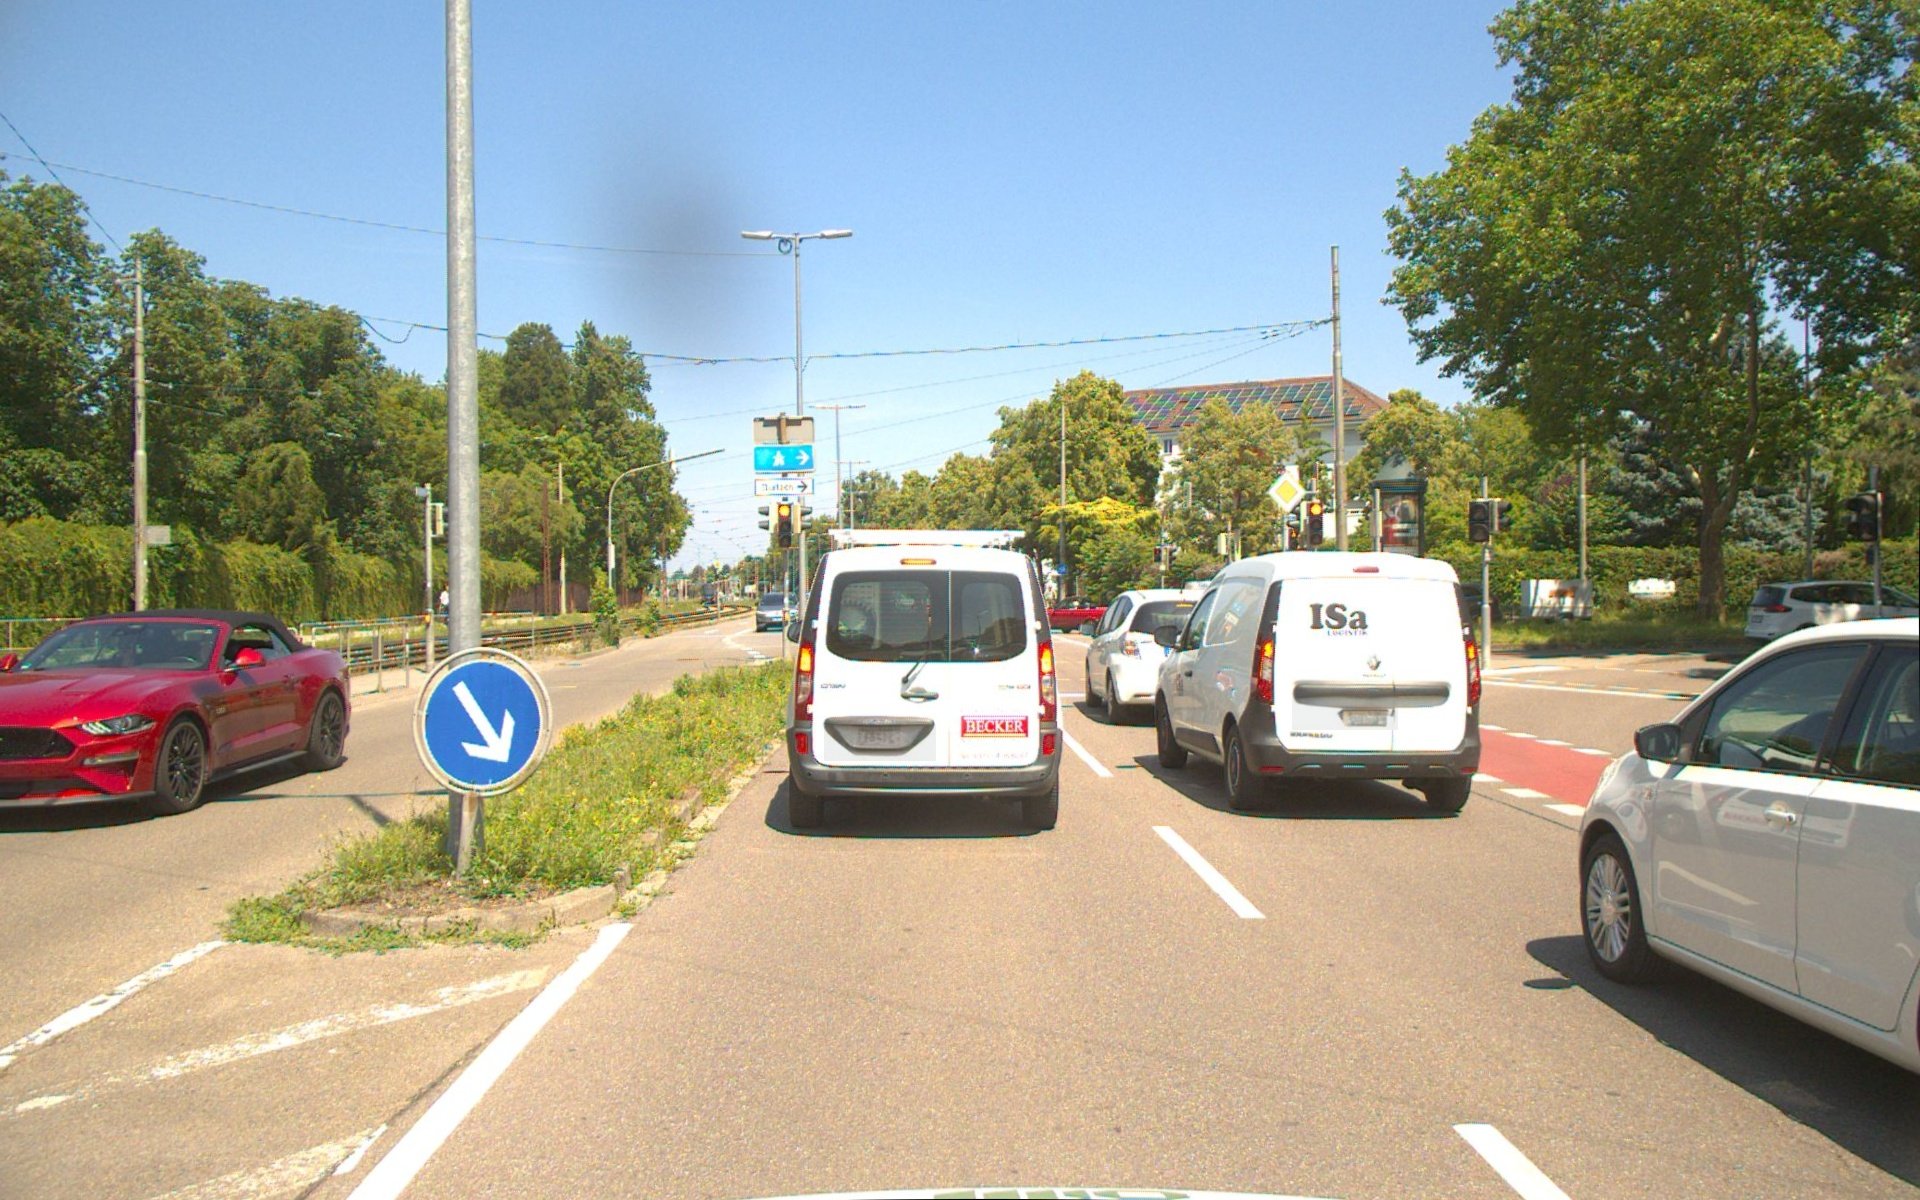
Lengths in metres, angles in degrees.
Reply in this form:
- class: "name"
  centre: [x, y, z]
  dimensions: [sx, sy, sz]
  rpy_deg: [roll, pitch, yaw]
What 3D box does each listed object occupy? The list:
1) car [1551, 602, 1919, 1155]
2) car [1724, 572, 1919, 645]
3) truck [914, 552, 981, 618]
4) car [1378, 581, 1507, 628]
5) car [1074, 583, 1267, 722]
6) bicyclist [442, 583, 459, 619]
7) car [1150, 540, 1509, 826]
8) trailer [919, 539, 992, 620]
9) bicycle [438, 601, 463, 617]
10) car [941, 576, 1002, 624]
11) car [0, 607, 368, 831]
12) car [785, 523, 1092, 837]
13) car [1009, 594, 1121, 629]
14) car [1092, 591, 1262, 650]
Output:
- class: "car"
  centre: [3.374, 0.766, 5.390]
  dimensions: [1.574, 1.477, 3.520]
  rpy_deg: [1, 0, -1]
- class: "car"
  centre: [20.505, 0.185, 38.671]
  dimensions: [4.348, 1.645, 2.001]
  rpy_deg: [-1, 0, 2]
- class: "truck"
  centre: [-0.827, -0.886, 98.653]
  dimensions: [3.505, 3.696, 8.803]
  rpy_deg: [-1, 0, -3]
- class: "car"
  centre: [16.334, 0.132, 56.128]
  dimensions: [3.902, 1.534, 2.001]
  rpy_deg: [-1, 0, 6]
- class: "car"
  centre: [2.476, 0.566, 20.344]
  dimensions: [1.720, 1.512, 3.998]
  rpy_deg: [-1, 0, -2]
- class: "bicyclist"
  centre: [-21.870, 0.047, 71.014]
  dimensions: [0.546, 1.504, 0.561]
  rpy_deg: [-1, 0, -2]
- class: "car"
  centre: [2.667, 0.525, 12.868]
  dimensions: [1.676, 1.862, 4.010]
  rpy_deg: [0, 0, -4]
- class: "trailer"
  centre: [-0.351, -1.096, 89.806]
  dimensions: [3.458, 4.121, 8.971]
  rpy_deg: [-1, 0, -3]
- class: "bicycle"
  centre: [-21.862, 0.379, 70.977]
  dimensions: [0.550, 0.659, 1.719]
  rpy_deg: [-1, 0, -1]
- class: "car"
  centre: [0.479, -0.015, 73.569]
  dimensions: [1.958, 2.049, 3.989]
  rpy_deg: [-1, 0, -11]
- class: "car"
  centre: [-6.356, 0.776, 12.844]
  dimensions: [1.944, 1.382, 4.537]
  rpy_deg: [-1, 0, -1]
- class: "car"
  centre: [-0.211, 0.468, 11.824]
  dimensions: [1.829, 1.868, 3.847]
  rpy_deg: [0, 0, -3]
- class: "car"
  centre: [3.875, 0.410, 61.560]
  dimensions: [3.931, 1.243, 1.850]
  rpy_deg: [0, 0, 44]
- class: "car"
  centre: [5.394, 0.501, 41.197]
  dimensions: [3.914, 1.403, 1.541]
  rpy_deg: [0, 0, 29]
